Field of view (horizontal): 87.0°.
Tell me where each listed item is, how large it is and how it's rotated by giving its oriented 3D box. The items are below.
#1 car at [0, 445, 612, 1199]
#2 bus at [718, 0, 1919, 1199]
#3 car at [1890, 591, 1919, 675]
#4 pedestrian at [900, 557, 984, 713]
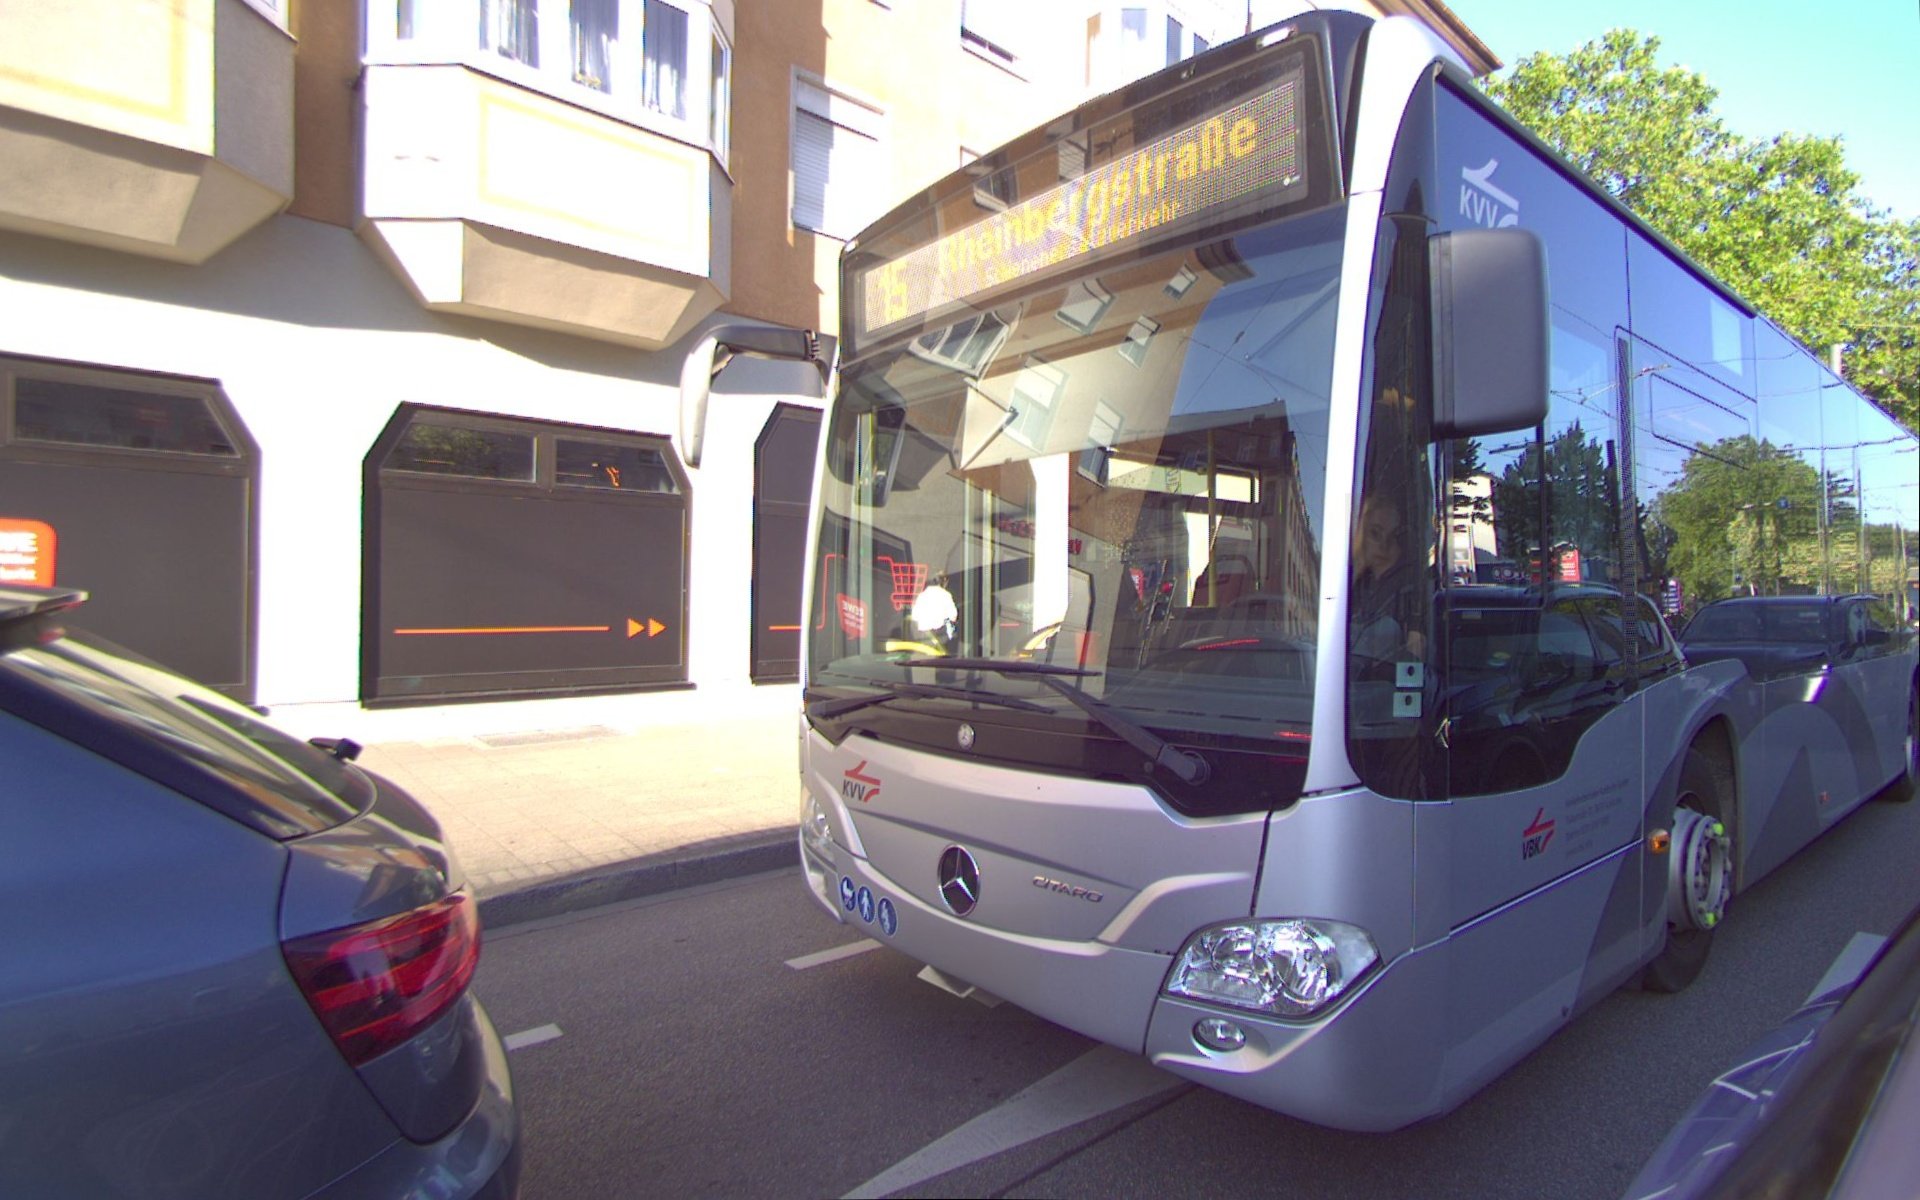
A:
[{"bbox_3d":[-2.581,0.647,0.647,4.151,1.572,1.700,0,-1,-41],"label":"car"},{"bbox_3d":[6.493,-0.211,8.728,17.432,3.189,2.771,0,1,-41],"label":"bus"},{"bbox_3d":[20.377,0.632,20.646,3.759,1.628,1.747,-1,0,-43],"label":"car"},{"bbox_3d":[-0.199,0.351,10.840,0.656,1.603,0.581,0,1,-37],"label":"pedestrian"}]
